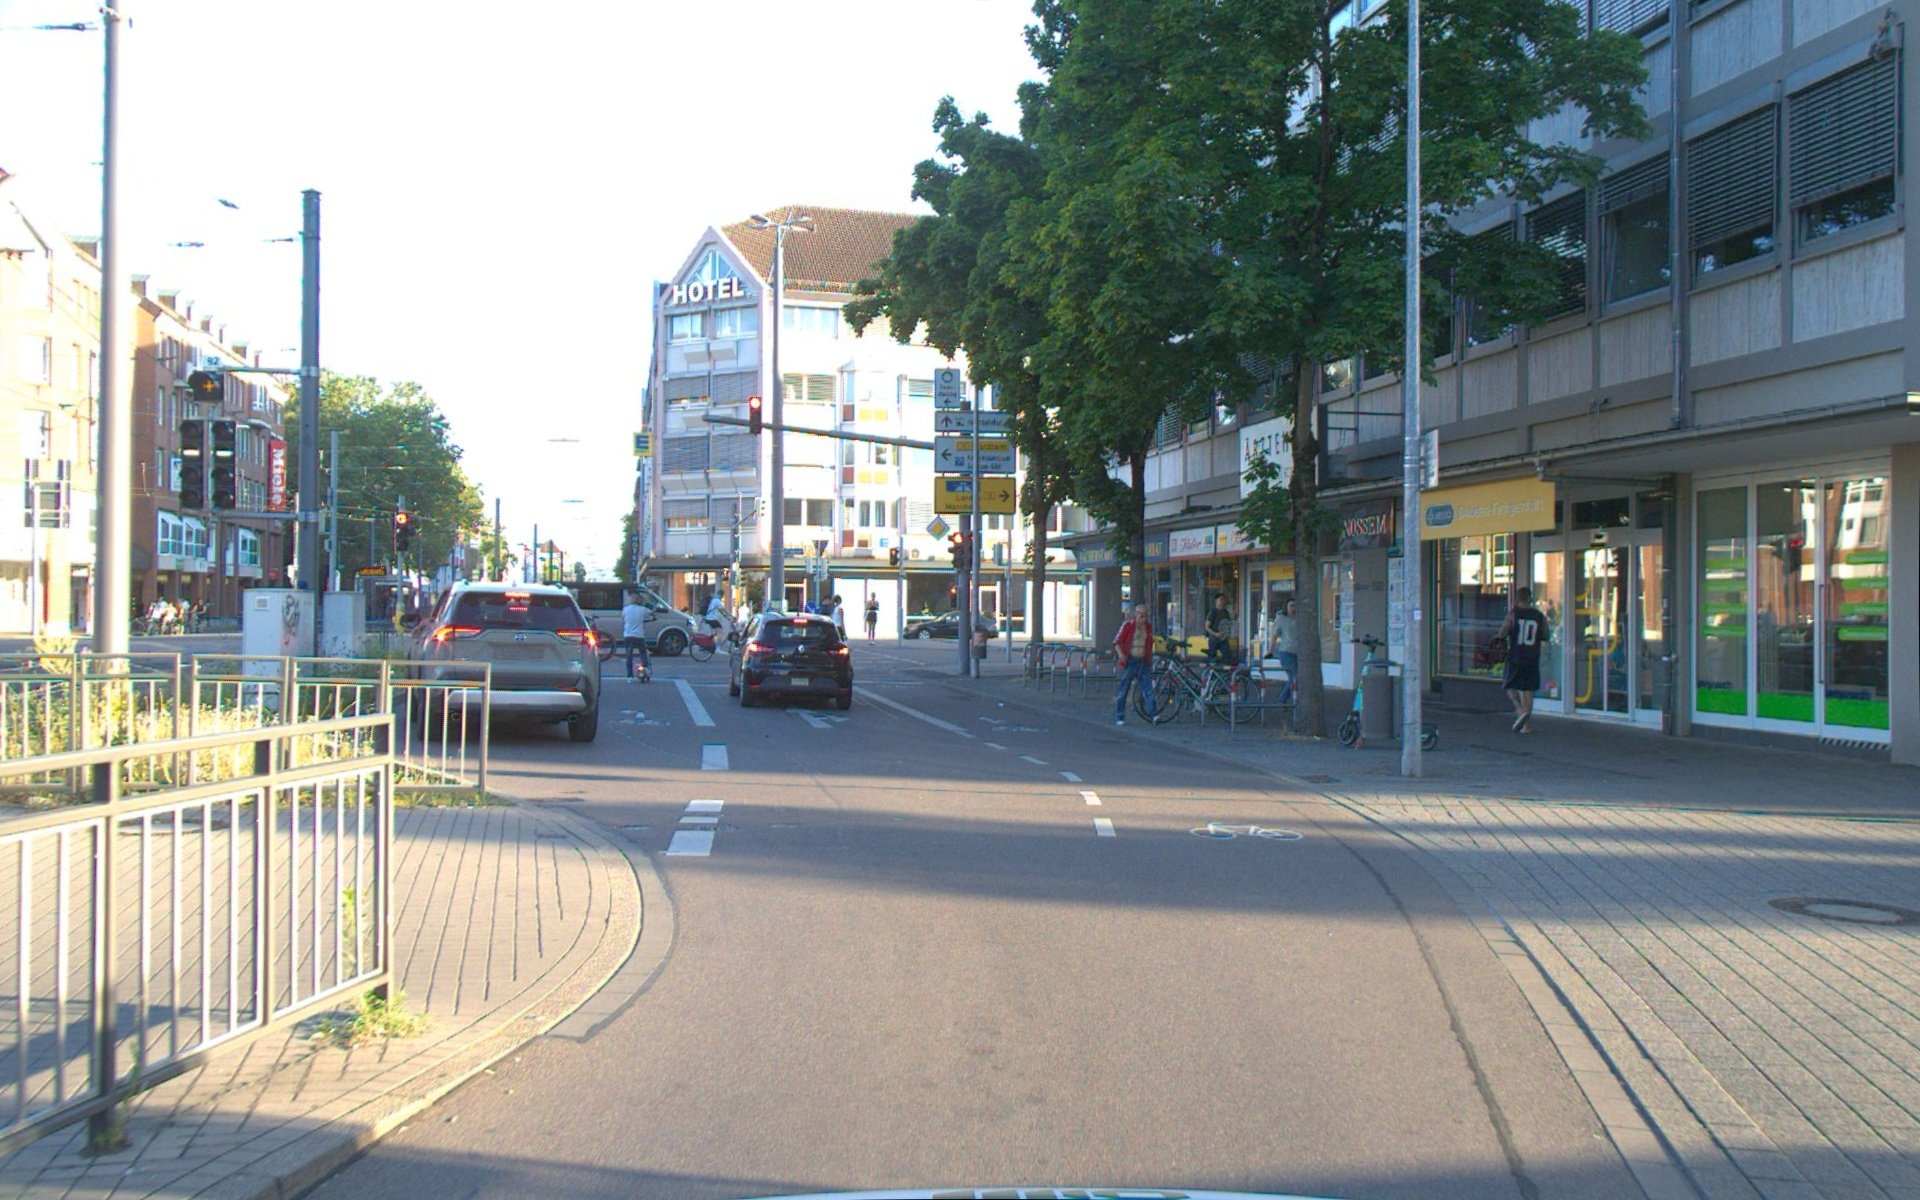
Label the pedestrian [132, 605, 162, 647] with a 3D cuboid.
[{"bbox_3d":[-40.490,1.277,82.387,1.075,2.049,0.905,2,-1,-14],"label":"pedestrian"}]

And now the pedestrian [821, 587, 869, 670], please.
[{"bbox_3d":[-2.665,0.667,38.373,0.977,1.862,0.727,2,-1,-11],"label":"pedestrian"}]

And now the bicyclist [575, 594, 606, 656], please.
[{"bbox_3d":[-9.337,0.628,41.794,0.693,1.538,0.547,-1,0,-18],"label":"bicyclist"}]

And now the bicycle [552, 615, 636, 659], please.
[{"bbox_3d":[-9.078,0.920,41.049,2.004,1.046,0.415,1,-1,-18],"label":"bicycle"}]

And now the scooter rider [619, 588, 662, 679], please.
[{"bbox_3d":[-5.966,0.625,30.875,0.649,1.676,0.660,2,-1,-4],"label":"scooter rider"}]

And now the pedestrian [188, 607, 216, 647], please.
[{"bbox_3d":[-40.033,1.413,87.333,1.075,2.049,1.159,2,-1,-14],"label":"pedestrian"}]

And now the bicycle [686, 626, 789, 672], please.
[{"bbox_3d":[-5.796,1.275,43.185,2.599,1.119,0.433,2,-1,-18],"label":"bicycle"}]

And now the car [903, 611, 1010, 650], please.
[{"bbox_3d":[-0.169,1.377,75.350,4.476,1.649,1.990,2,-1,-15],"label":"car"}]

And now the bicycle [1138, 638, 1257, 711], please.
[{"bbox_3d":[3.397,1.065,23.695,1.625,0.991,0.386,2,-1,-5],"label":"bicycle"}]

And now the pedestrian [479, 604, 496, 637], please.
[{"bbox_3d":[-24.410,1.065,85.488,0.688,1.693,0.806,2,-1,-10],"label":"pedestrian"}]

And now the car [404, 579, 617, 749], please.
[{"bbox_3d":[-5.130,0.647,18.518,1.810,1.665,4.063,2,0,-22],"label":"car"}]

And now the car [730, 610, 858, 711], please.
[{"bbox_3d":[-2.732,0.918,26.513,1.732,1.465,3.990,1,0,-10],"label":"car"}]

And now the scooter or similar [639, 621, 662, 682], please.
[{"bbox_3d":[-5.781,0.952,30.938,0.274,1.110,1.255,2,-1,-5],"label":"scooter or similar"}]

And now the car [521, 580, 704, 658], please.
[{"bbox_3d":[-9.579,0.516,45.656,4.628,2.049,1.983,0,0,-27],"label":"car"}]

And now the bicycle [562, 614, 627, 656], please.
[{"bbox_3d":[-9.244,0.891,41.842,1.587,1.046,0.351,1,-1,-19],"label":"bicycle"}]

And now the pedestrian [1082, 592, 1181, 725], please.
[{"bbox_3d":[2.265,0.763,21.915,0.815,1.714,1.037,3,-2,-31],"label":"pedestrian"}]

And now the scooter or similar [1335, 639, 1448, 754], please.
[{"bbox_3d":[4.799,1.063,18.431,1.196,1.239,0.293,-1,-3,34],"label":"scooter or similar"}]

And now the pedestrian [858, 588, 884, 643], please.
[{"bbox_3d":[-2.972,0.531,55.414,0.732,1.810,0.798,2,-2,-10],"label":"pedestrian"}]

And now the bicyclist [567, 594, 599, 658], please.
[{"bbox_3d":[-9.334,0.641,40.985,0.693,1.538,0.547,-1,0,-18],"label":"bicyclist"}]

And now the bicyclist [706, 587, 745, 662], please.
[{"bbox_3d":[-6.122,0.632,43.085,0.847,1.911,0.643,2,-1,-19],"label":"bicyclist"}]

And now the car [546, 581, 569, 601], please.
[{"bbox_3d":[-40.841,-0.892,167.982,1.958,1.934,3.989,2,-1,-11],"label":"car"}]

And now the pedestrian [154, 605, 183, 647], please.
[{"bbox_3d":[-40.091,1.326,83.795,1.075,2.049,0.905,2,-1,-14],"label":"pedestrian"}]

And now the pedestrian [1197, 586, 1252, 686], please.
[{"bbox_3d":[4.917,0.665,30.760,0.733,1.810,0.798,2,-2,-11],"label":"pedestrian"}]

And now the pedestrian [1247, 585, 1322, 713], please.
[{"bbox_3d":[4.750,0.718,24.227,0.733,1.810,0.970,2,-2,-11],"label":"pedestrian"}]

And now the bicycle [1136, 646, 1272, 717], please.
[{"bbox_3d":[3.352,1.115,22.740,1.782,0.907,0.414,2,-1,-5],"label":"bicycle"}]

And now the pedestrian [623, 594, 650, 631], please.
[{"bbox_3d":[-15.941,0.629,81.414,0.836,1.756,0.931,1,-2,37],"label":"pedestrian"}]

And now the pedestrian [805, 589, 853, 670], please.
[{"bbox_3d":[-3.104,0.687,39.072,0.977,1.862,0.726,2,-1,-12],"label":"pedestrian"}]

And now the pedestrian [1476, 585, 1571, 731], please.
[{"bbox_3d":[6.867,0.701,20.176,0.733,1.713,0.892,2,-2,-11],"label":"pedestrian"}]

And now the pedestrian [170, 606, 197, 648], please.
[{"bbox_3d":[-38.784,1.348,82.647,0.960,2.049,0.905,2,-1,-14],"label":"pedestrian"}]
